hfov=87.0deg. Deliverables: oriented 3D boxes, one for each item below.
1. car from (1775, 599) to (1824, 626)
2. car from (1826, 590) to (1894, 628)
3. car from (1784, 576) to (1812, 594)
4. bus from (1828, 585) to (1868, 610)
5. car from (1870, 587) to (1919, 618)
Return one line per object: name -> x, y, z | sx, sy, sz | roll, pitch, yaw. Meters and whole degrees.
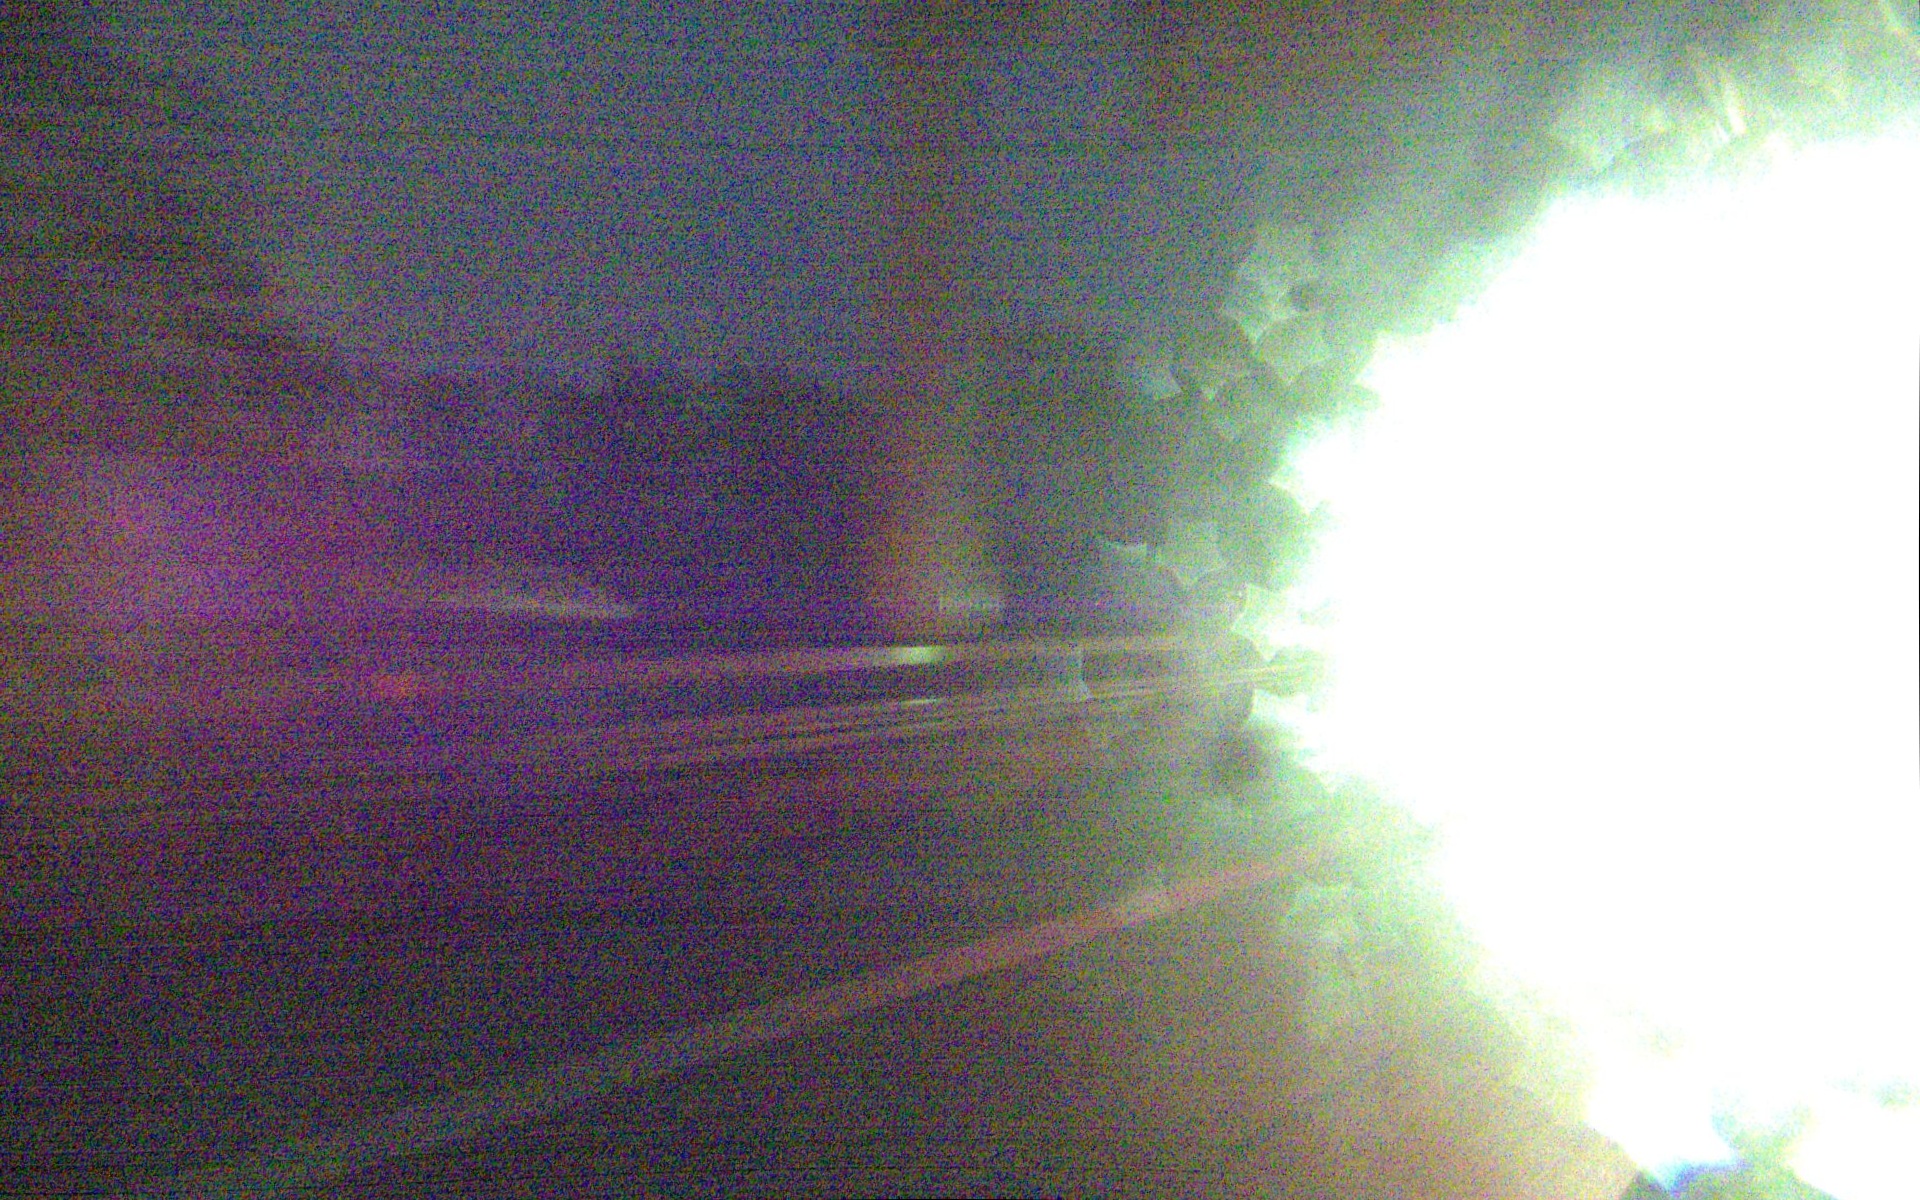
car -> 50.211, 0.731, 60.582 | 1.801, 1.505, 3.541 | -2, 0, 33
car -> 38.753, 0.365, 43.643 | 1.803, 1.505, 3.536 | -2, 0, 36
car -> 91.349, -1.659, 110.343 | 1.986, 1.830, 3.951 | -2, 0, 35
bus -> 168.776, -0.590, 192.497 | 3.061, 4.547, 16.812 | -2, 0, 33
car -> 51.421, 0.093, 55.204 | 1.986, 1.580, 4.532 | -2, 0, 34
